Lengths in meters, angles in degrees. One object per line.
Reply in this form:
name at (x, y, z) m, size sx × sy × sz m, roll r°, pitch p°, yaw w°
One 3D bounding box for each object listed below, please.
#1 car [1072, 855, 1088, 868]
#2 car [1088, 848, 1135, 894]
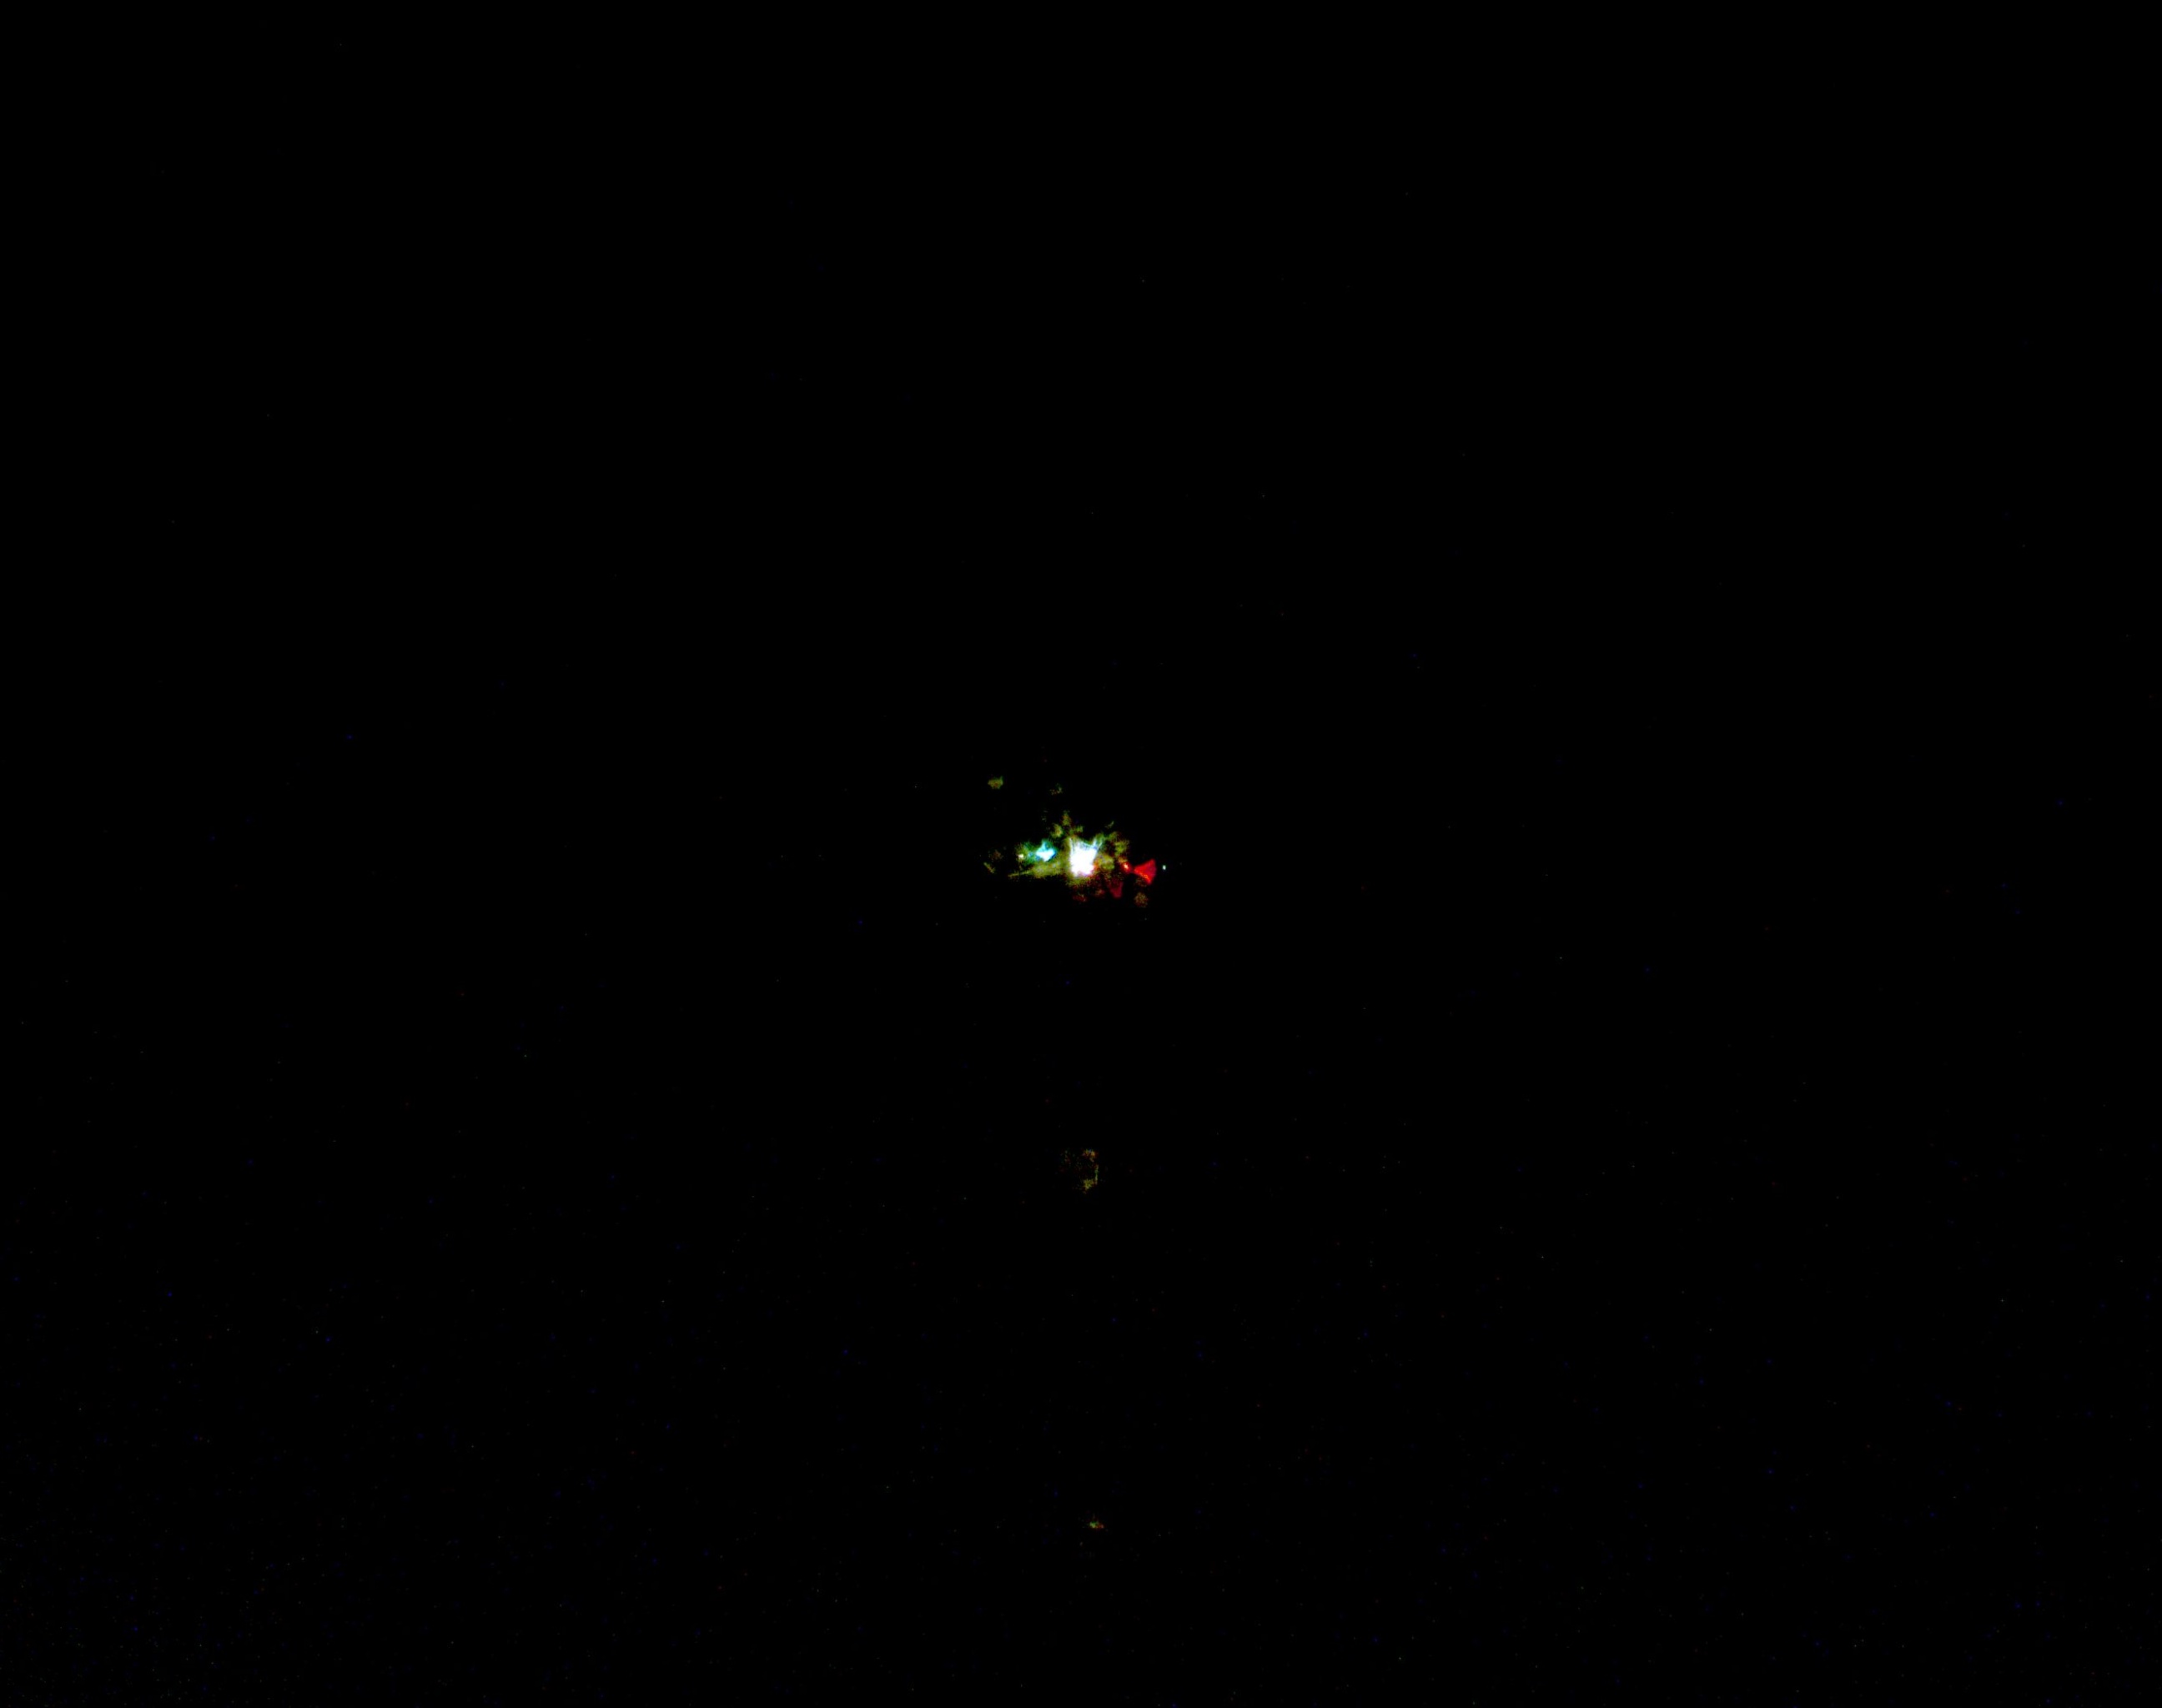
car at (-0.114, 0.982, 108.568) m, size 1.632 × 1.581 × 3.736 m, roll -3°, pitch 2°, yaw -6°
car at (1.371, 0.749, 37.558) m, size 1.986 × 1.806 × 3.919 m, roll -3°, pitch 2°, yaw 1°
